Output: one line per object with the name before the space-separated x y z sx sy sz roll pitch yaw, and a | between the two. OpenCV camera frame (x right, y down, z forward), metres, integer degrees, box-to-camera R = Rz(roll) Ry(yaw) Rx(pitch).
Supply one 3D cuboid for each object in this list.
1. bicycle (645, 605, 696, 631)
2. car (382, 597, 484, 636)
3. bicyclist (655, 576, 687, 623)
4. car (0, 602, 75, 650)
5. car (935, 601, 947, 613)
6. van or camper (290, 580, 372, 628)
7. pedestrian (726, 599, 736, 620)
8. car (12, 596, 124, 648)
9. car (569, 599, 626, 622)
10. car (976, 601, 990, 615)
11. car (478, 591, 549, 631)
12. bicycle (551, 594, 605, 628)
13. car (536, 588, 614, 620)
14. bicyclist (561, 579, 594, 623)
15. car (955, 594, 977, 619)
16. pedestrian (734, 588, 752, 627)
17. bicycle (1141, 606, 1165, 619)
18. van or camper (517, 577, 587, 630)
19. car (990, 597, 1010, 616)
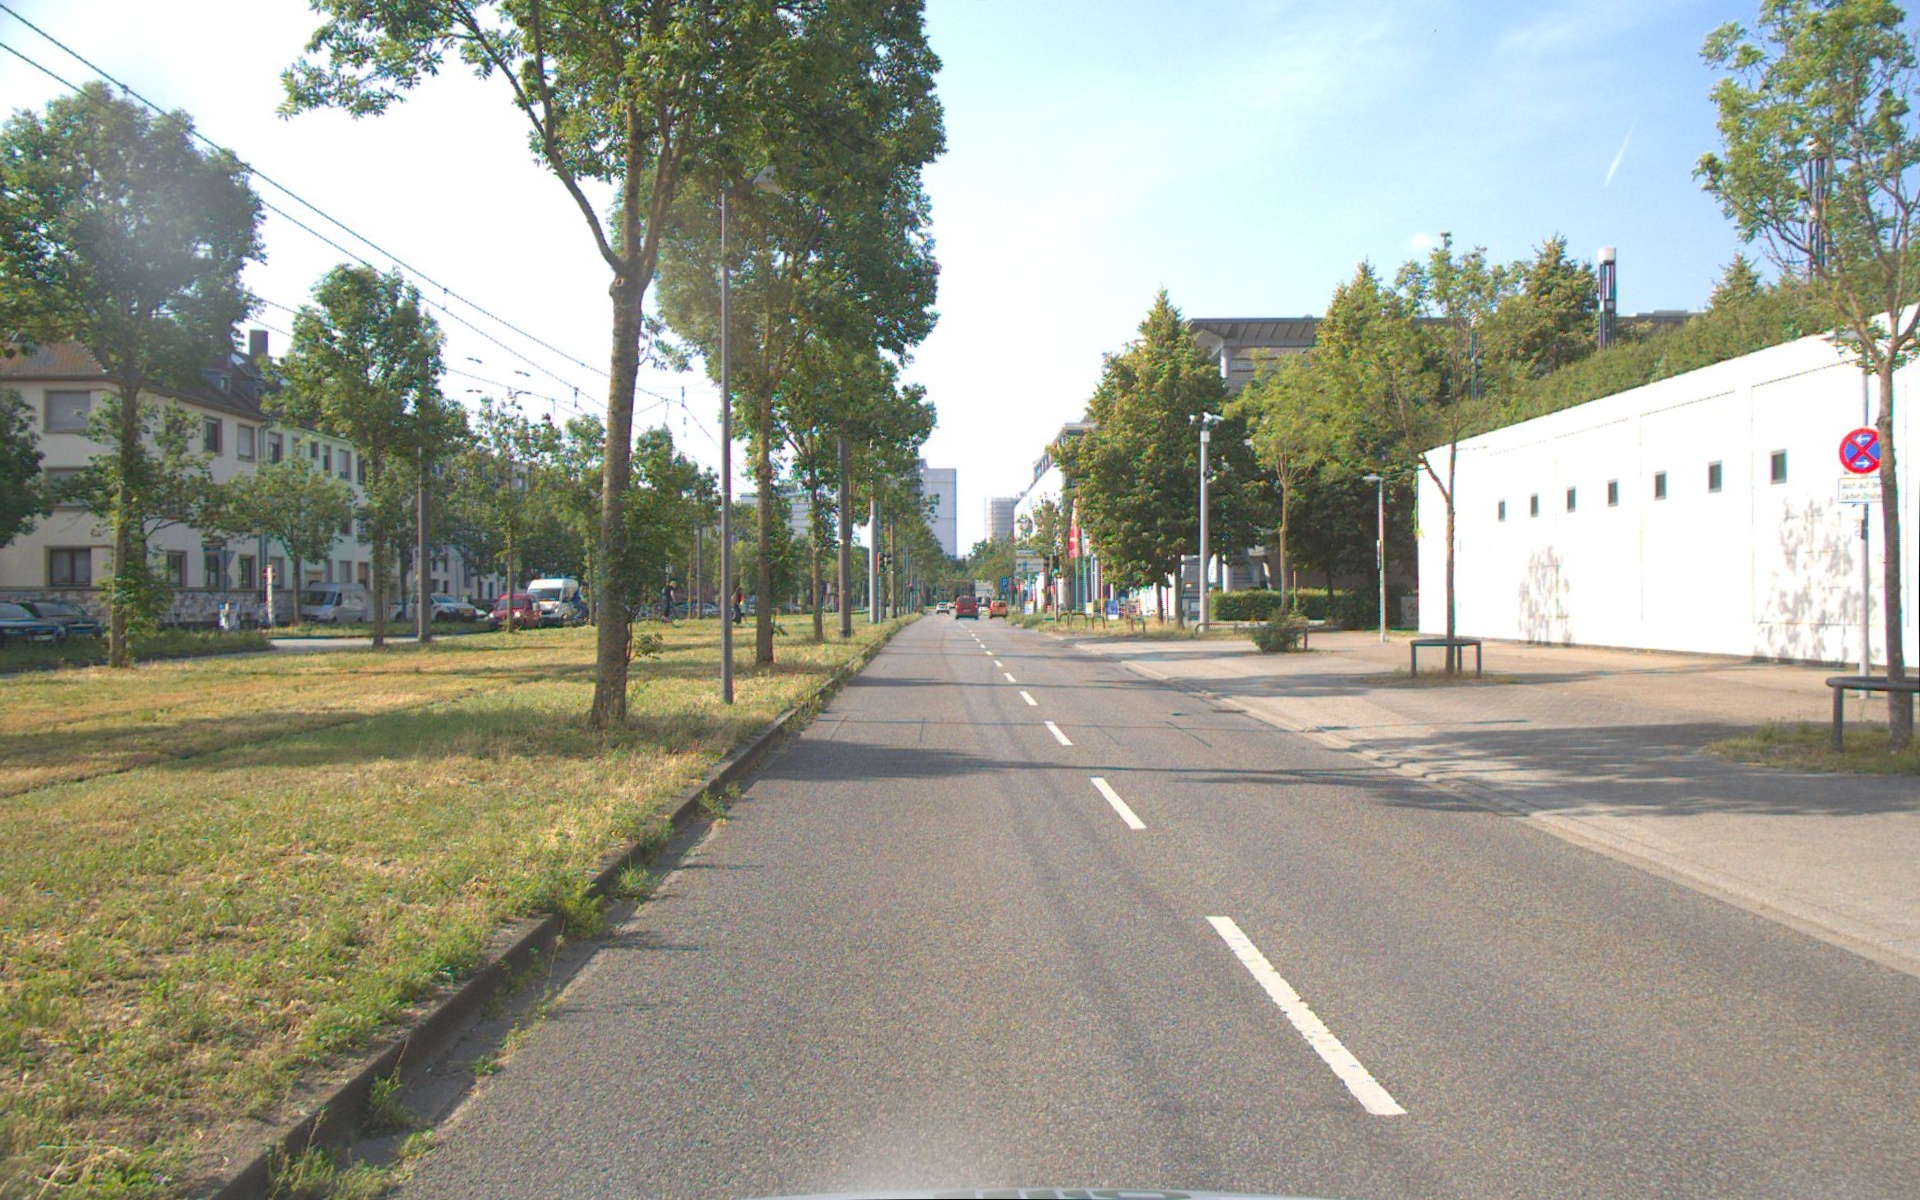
bicycle | -12.446 0.761 71.109 2.048 1.060 0.660 2 -1 -34
car | -26.333 0.800 82.612 5.216 1.768 1.994 2 -1 33
bicyclist | -12.434 -0.010 71.123 1.136 1.968 0.678 2 -1 -34
car | -24.853 0.669 43.392 3.097 1.181 1.493 2 -1 32
car | -2.741 0.986 237.111 1.712 1.679 3.215 2 0 0
van or camper | -33.148 0.231 87.383 1.952 2.369 5.828 2 0 1
pedestrian | -9.705 0.413 70.004 0.334 0.890 0.461 2 -1 0
car | -25.355 0.615 47.007 3.098 1.350 1.493 1 -1 33
car | -26.337 0.745 120.111 3.908 1.557 1.462 2 -1 25
car | 2.930 0.984 211.343 1.712 1.679 3.215 2 0 0
car | -20.745 0.525 77.032 1.924 1.723 4.298 2 0 3
bicycle | -15.887 0.452 68.797 2.041 1.347 0.777 2 -1 -27
car | -26.589 0.300 114.256 5.114 2.049 1.875 2 -1 25
bicyclist | -15.901 0.049 68.779 1.133 1.792 0.680 2 -1 -28
car | 0.515 0.542 137.386 1.712 2.049 3.215 2 -1 0
pedestrian | -9.164 0.315 69.931 0.612 1.599 0.711 2 -1 0
bicycle | 13.853 0.912 118.657 1.589 0.903 0.550 2 -1 -2
van or camper | -20.652 0.190 84.011 2.159 2.575 6.028 2 0 -2
car | 3.804 0.624 157.237 1.712 1.679 3.215 2 0 0
